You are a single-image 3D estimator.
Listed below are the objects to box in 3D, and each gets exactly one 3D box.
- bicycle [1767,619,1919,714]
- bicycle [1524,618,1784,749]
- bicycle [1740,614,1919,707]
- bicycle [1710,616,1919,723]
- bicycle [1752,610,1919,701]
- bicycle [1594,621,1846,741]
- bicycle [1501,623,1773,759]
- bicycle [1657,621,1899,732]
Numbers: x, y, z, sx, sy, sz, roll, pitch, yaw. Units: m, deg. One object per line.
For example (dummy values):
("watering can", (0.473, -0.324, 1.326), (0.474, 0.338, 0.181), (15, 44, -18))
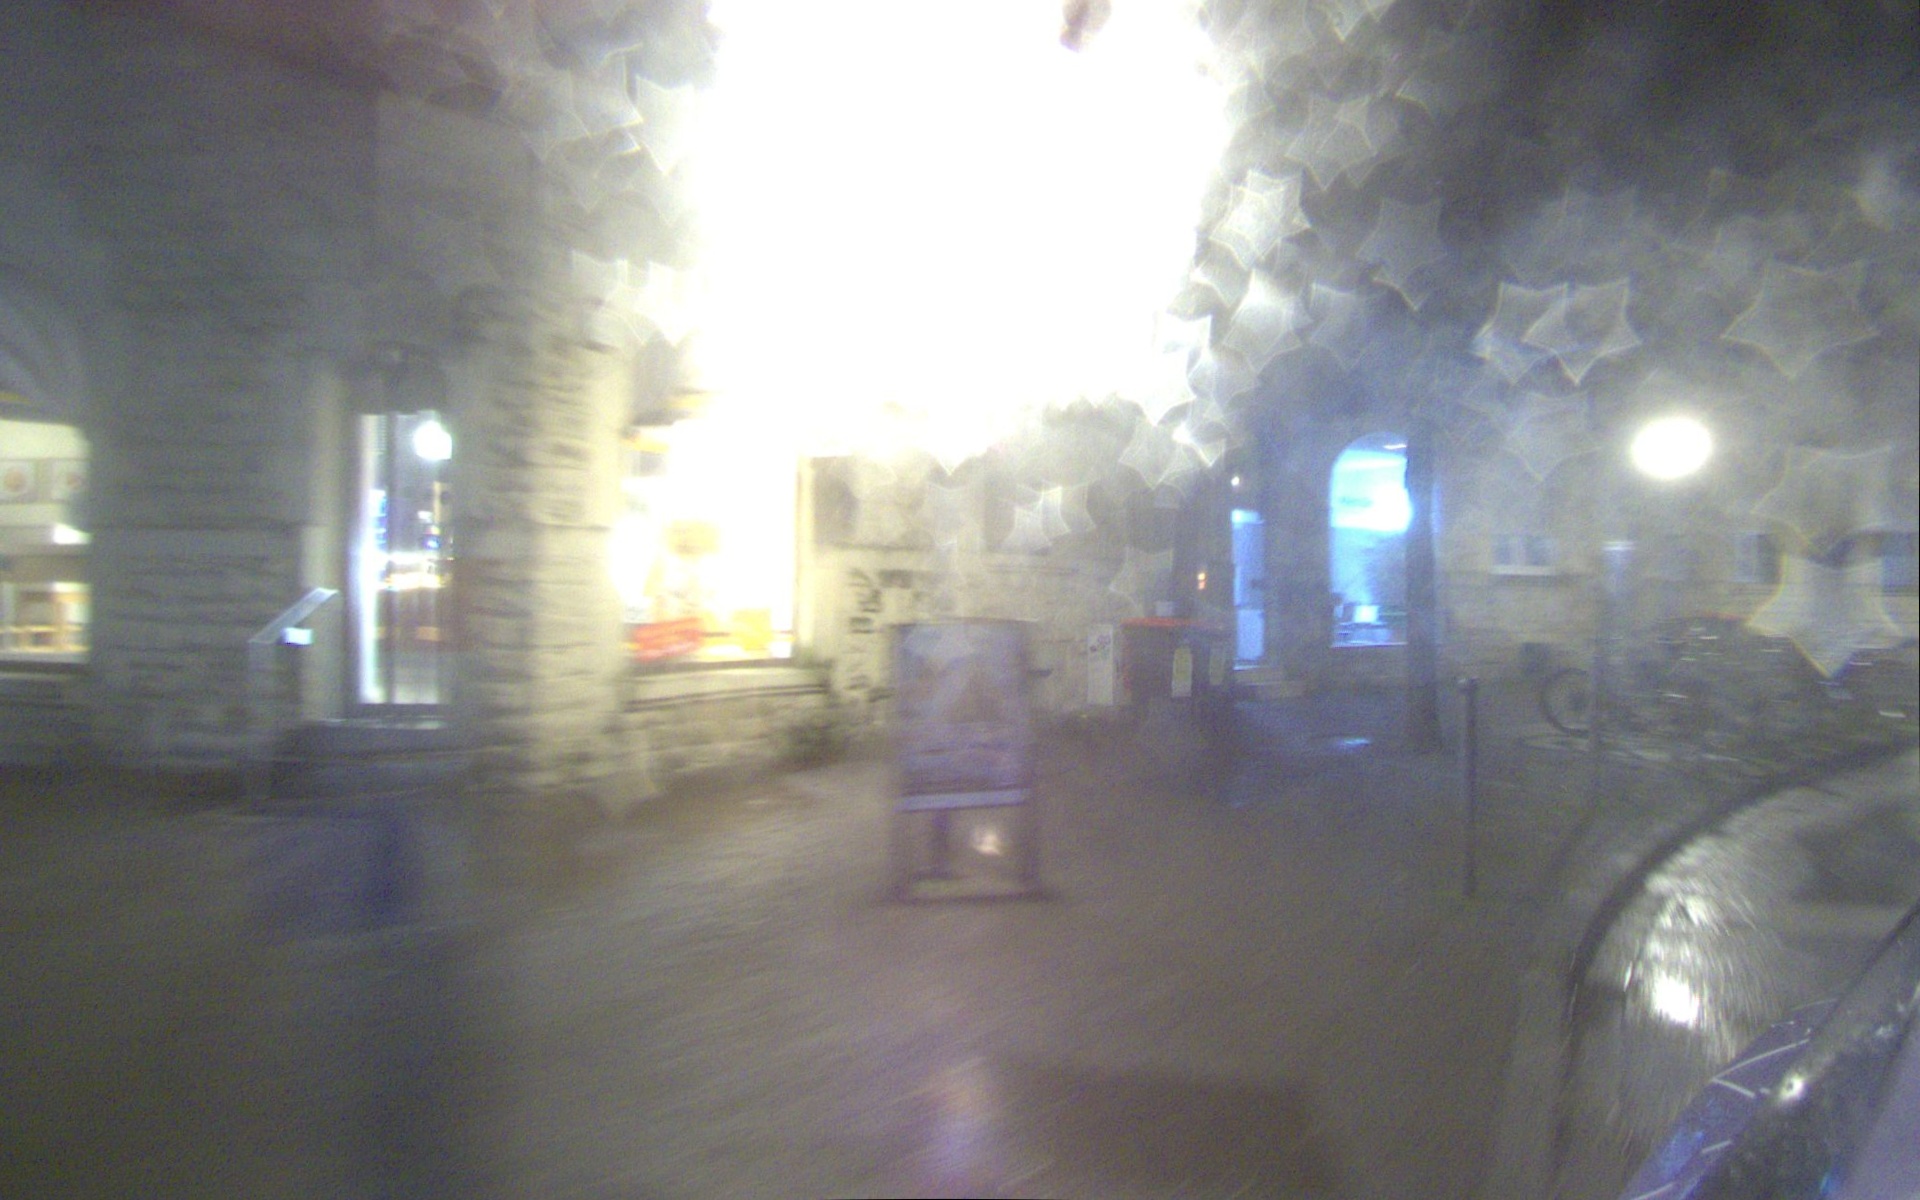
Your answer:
("bicycle", (11.346, 0.792, 12.749), (0.629, 1.019, 1.977), (0, 1, -5))
("bicycle", (6.607, 0.743, 9.755), (0.630, 1.047, 1.976), (-1, 1, -34))
("bicycle", (11.403, 0.755, 13.151), (1.967, 1.066, 0.633), (1, 1, 42))
("bicycle", (10.090, 0.767, 11.877), (0.630, 1.078, 1.976), (-1, 1, -34))
("bicycle", (12.113, 0.722, 13.897), (0.707, 1.100, 1.826), (-1, 1, -33))
("bicycle", (7.737, 0.775, 10.407), (0.630, 1.019, 1.976), (-1, 1, -34))
("bicycle", (6.099, 0.765, 9.242), (0.630, 1.019, 1.976), (-1, 1, -34))
("bicycle", (8.913, 0.788, 11.123), (0.630, 1.019, 1.976), (-1, 1, -34))
